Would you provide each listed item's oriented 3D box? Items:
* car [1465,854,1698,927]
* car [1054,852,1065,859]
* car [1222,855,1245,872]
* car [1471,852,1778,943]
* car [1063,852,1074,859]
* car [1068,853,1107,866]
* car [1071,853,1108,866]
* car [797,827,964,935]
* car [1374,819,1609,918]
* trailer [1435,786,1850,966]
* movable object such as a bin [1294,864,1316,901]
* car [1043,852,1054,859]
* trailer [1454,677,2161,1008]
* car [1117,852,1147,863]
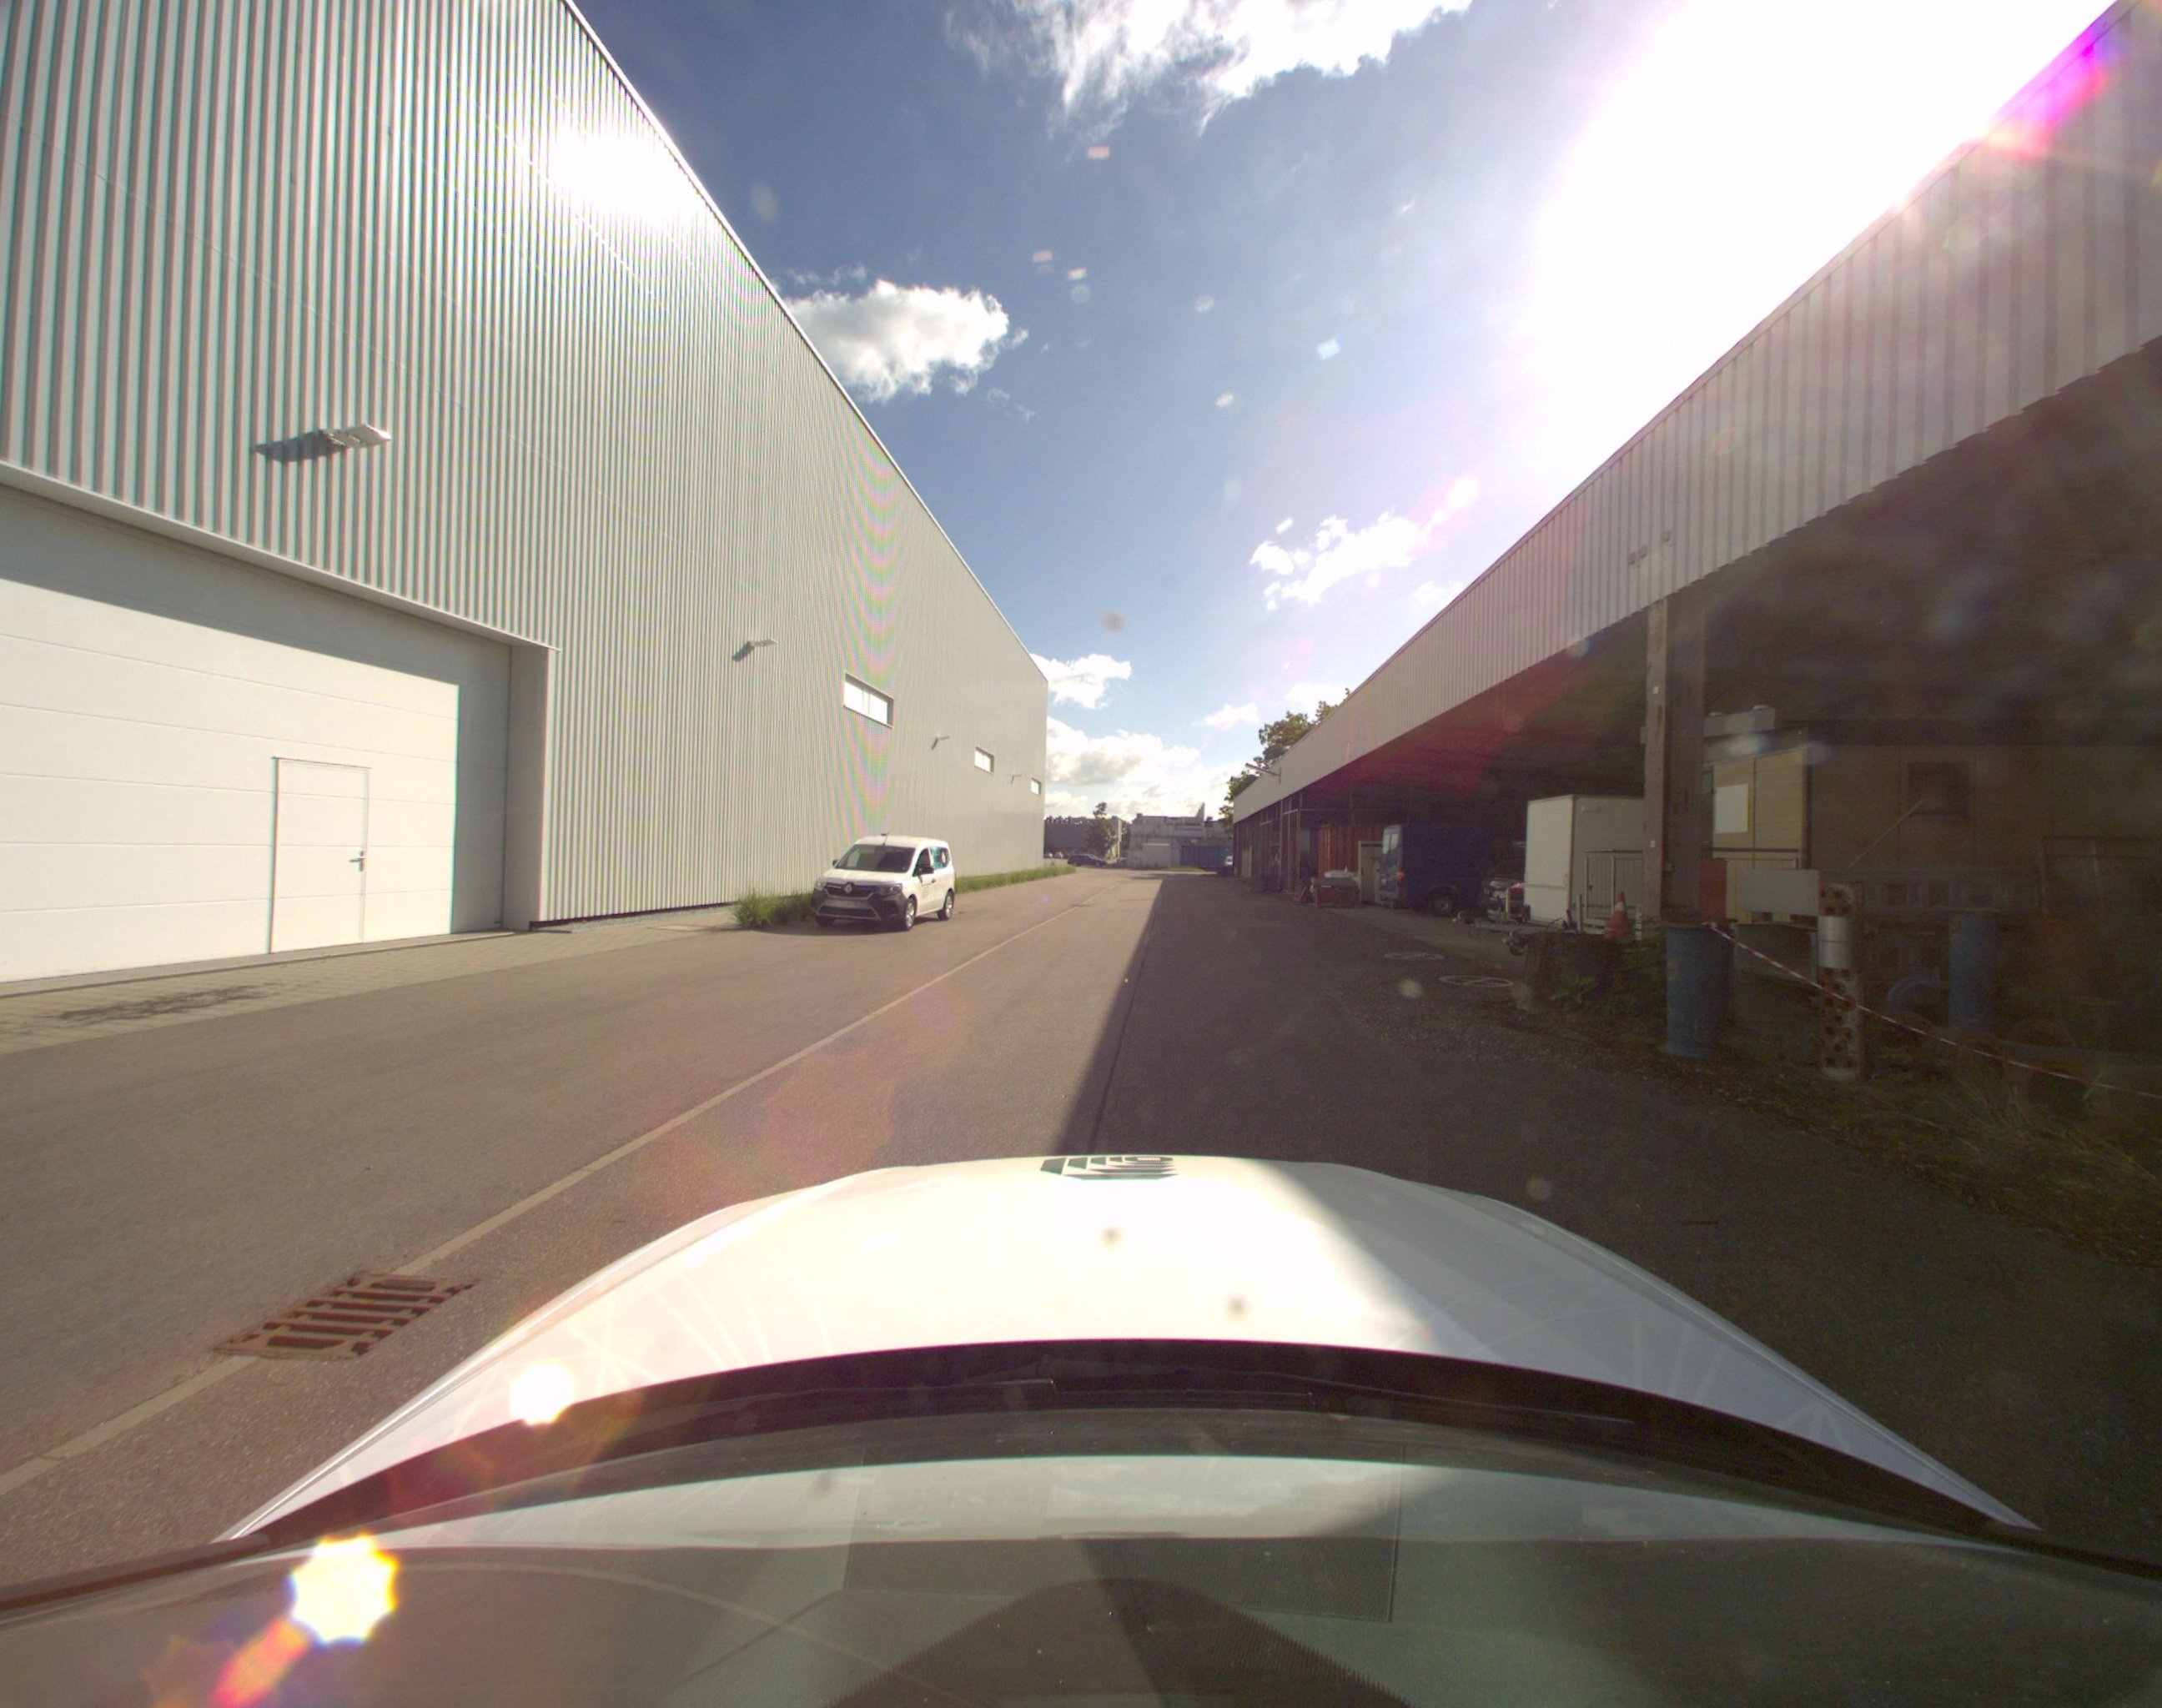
[{"bbox_3d":[10.727,0.746,17.678,3.972,1.472,1.789,0,0,1],"label":"car"},{"bbox_3d":[-5.215,0.388,197.346,2.183,1.736,4.006,-1,-1,5],"label":"car"},{"bbox_3d":[15.874,0.994,84.756,1.984,1.585,4.180,1,1,6],"label":"car"},{"bbox_3d":[9.582,0.726,14.639,4.310,1.496,1.779,0,0,3],"label":"car"},{"bbox_3d":[-2.868,0.319,195.401,2.183,1.736,4.006,-1,-1,5],"label":"car"},{"bbox_3d":[0.771,0.658,99.037,4.501,1.508,1.913,0,0,7],"label":"car"},{"bbox_3d":[1.089,0.685,102.264,4.501,1.508,1.913,0,0,7],"label":"car"},{"bbox_3d":[-3.921,0.486,16.795,1.881,1.845,4.365,3,0,6],"label":"car"},{"bbox_3d":[10.254,0.339,20.708,4.953,2.325,2.004,1,0,6],"label":"car"},{"bbox_3d":[8.025,0.278,12.131,4.782,2.391,1.832,0,0,10],"label":"trailer"},{"bbox_3d":[7.330,0.927,26.698,0.578,1.164,1.241,0,0,10],"label":"movable object such as a bin"},{"bbox_3d":[-7.814,0.441,197.248,1.984,1.736,4.006,-1,-1,5],"label":"car"},{"bbox_3d":[9.985,-0.118,9.388,9.987,3.216,2.858,0,0,5],"label":"trailer"},{"bbox_3d":[7.879,0.532,126.129,4.502,1.508,1.912,1,0,7],"label":"car"}]
